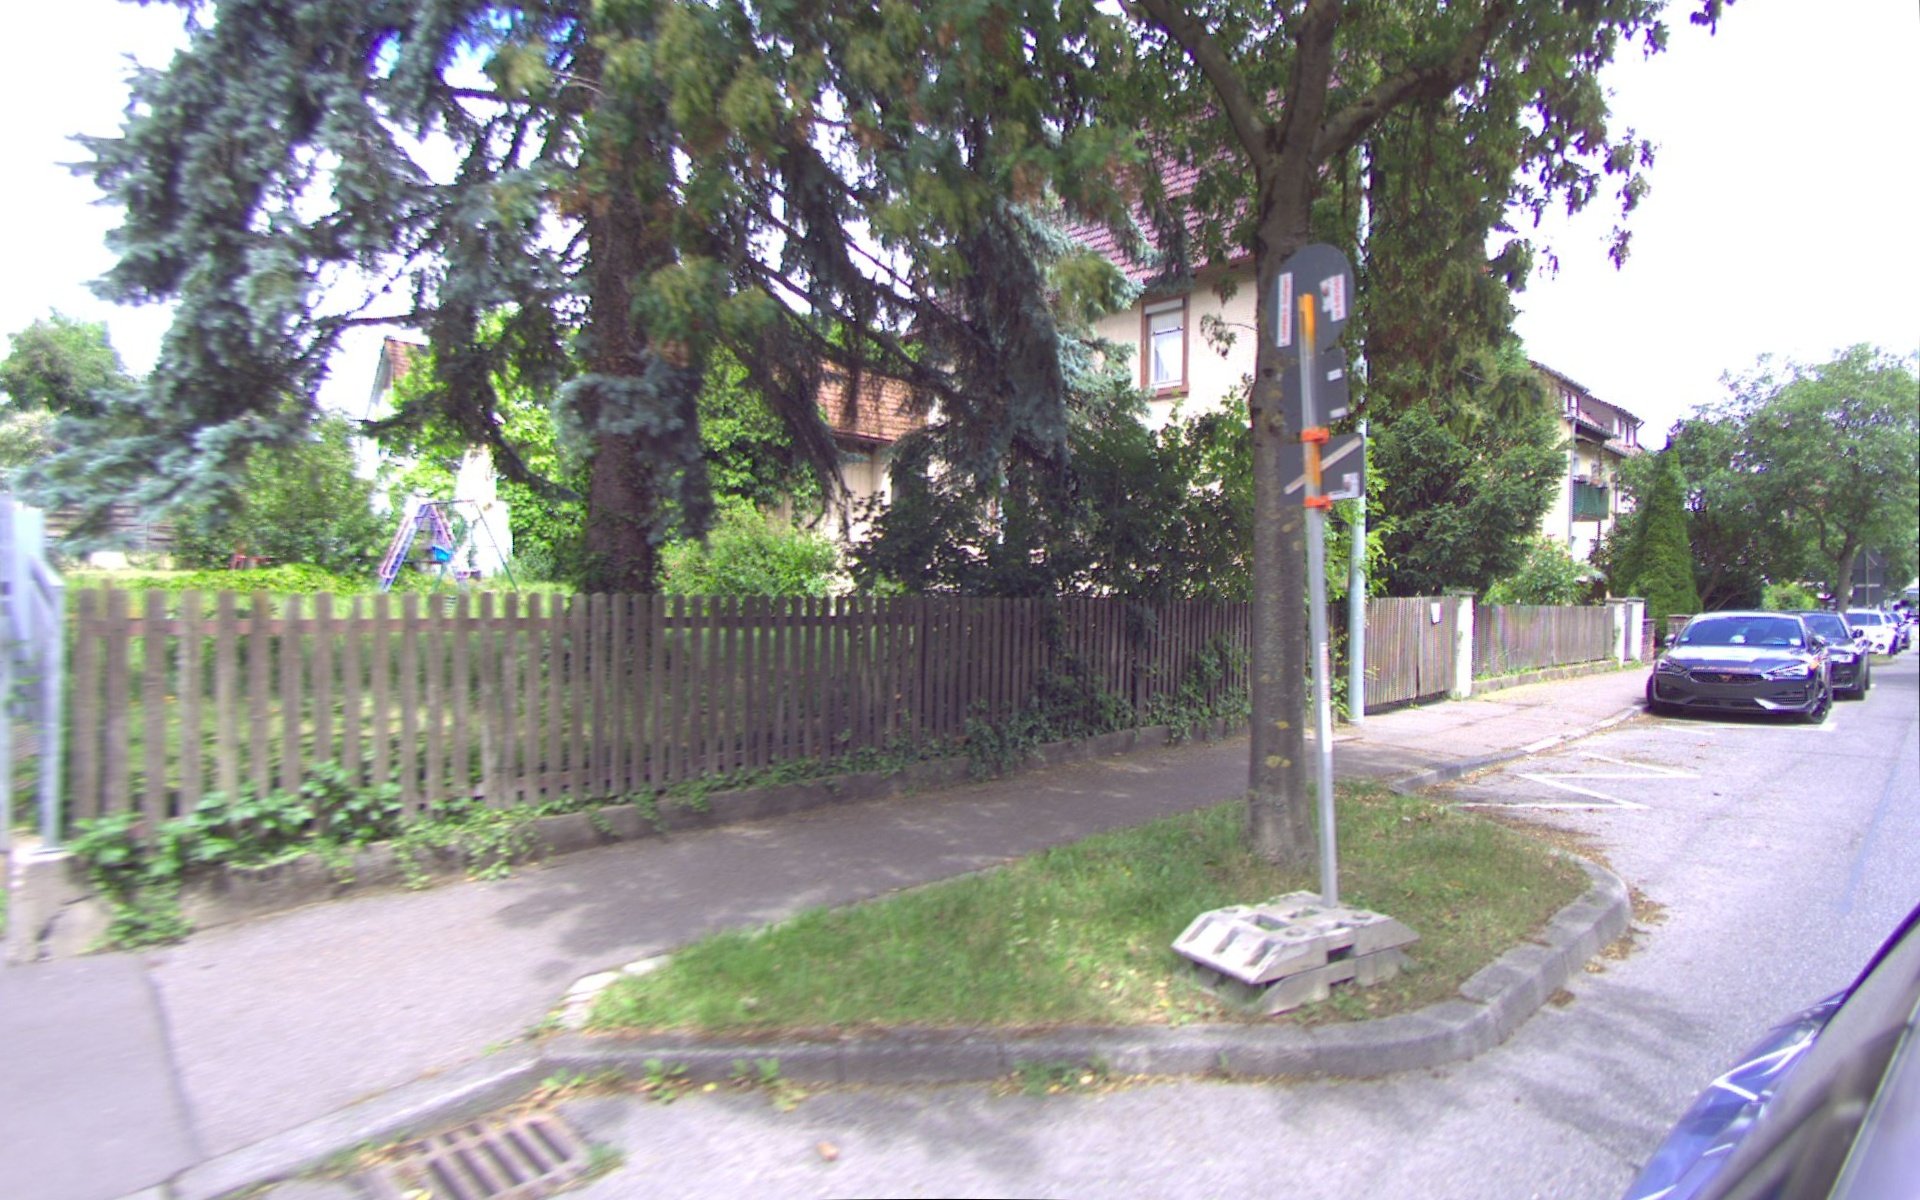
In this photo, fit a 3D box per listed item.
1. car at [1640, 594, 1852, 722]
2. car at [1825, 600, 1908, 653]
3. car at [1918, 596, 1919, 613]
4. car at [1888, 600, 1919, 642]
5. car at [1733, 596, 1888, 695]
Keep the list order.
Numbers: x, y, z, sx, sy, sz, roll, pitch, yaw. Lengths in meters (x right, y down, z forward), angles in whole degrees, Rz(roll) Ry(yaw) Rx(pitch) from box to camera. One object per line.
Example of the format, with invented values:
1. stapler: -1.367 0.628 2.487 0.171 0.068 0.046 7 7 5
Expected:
1. car: 11.220 0.699 14.346 1.934 1.510 3.959 -1 0 44
2. car: 27.973 0.770 31.201 1.763 1.510 3.521 -1 0 44
3. car: 81.120 0.361 84.532 1.531 1.332 3.521 -1 0 44
4. car: 36.333 0.765 38.238 1.763 1.510 3.521 -1 0 44
5. car: 14.787 0.701 17.534 1.763 1.510 3.798 -1 -1 44
